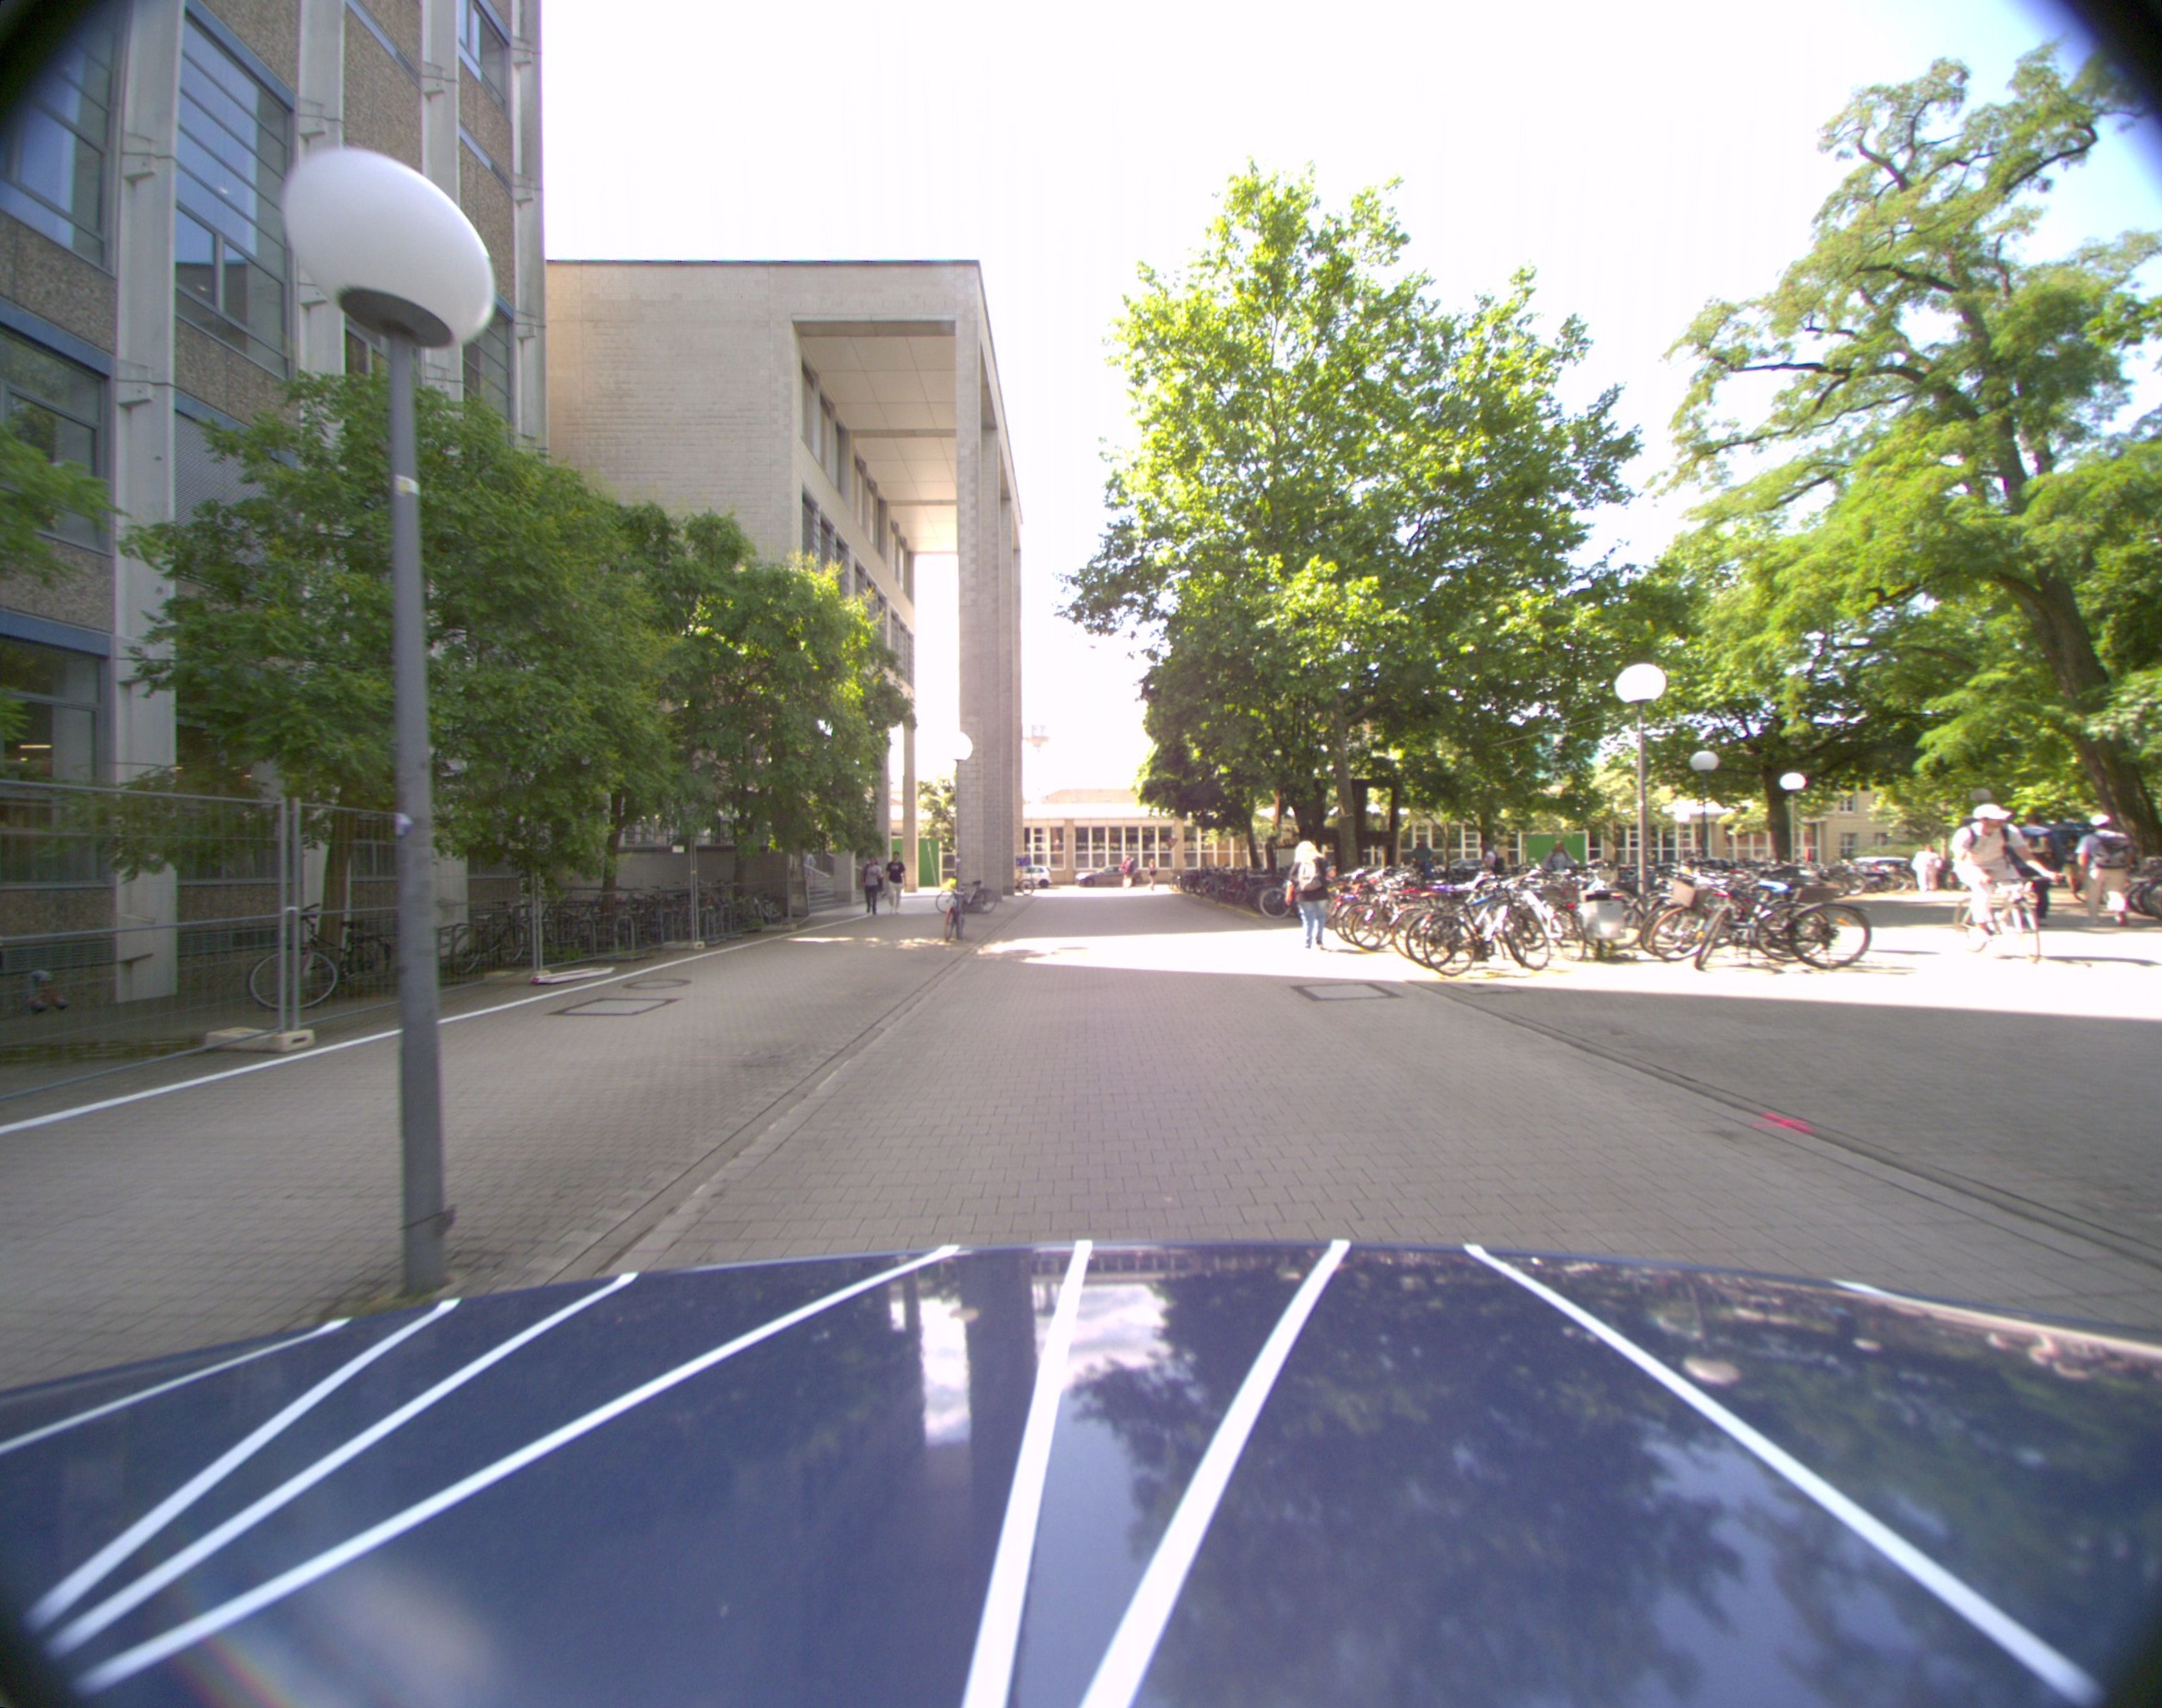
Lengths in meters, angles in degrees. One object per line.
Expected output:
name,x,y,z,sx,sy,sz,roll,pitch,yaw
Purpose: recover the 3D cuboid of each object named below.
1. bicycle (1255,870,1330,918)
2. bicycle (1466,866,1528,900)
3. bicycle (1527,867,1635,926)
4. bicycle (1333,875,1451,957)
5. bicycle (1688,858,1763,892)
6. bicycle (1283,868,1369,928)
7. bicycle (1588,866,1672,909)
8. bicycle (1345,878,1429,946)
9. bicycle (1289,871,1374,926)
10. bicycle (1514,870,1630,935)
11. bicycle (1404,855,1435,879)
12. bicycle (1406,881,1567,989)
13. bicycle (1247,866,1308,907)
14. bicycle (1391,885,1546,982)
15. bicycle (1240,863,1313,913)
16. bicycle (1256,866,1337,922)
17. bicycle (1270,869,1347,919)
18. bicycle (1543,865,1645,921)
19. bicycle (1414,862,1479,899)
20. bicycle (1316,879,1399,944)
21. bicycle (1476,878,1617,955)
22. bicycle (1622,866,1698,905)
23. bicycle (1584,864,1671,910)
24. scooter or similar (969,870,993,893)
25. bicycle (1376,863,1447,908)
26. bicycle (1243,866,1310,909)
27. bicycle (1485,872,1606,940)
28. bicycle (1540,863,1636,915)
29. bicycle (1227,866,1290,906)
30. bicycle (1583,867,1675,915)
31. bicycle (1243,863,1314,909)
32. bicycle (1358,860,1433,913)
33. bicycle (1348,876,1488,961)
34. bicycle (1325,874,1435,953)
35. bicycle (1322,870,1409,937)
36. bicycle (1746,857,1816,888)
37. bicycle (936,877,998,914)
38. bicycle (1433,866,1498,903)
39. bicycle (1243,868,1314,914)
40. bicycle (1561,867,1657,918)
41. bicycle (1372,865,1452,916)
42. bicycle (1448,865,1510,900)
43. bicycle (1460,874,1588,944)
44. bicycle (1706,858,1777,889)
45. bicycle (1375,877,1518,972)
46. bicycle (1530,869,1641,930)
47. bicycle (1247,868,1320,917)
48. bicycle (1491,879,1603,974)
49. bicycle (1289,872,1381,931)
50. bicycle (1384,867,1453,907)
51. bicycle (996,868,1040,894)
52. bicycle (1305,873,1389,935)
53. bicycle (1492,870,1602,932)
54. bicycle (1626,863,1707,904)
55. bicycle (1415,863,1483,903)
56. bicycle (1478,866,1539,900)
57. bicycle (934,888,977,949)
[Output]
bicycle,5.105,0.953,18.359,1.700,1.101,0.473,-1,1,-11
bicycle,14.047,0.954,25.671,0.504,1.101,1.775,-2,1,-37
bicycle,9.610,0.804,14.638,1.695,1.077,0.475,-1,1,36
bicycle,4.783,0.927,11.691,1.700,1.161,0.473,-1,1,-12
bicycle,21.658,0.689,25.564,0.475,1.077,1.854,-2,1,-37
bicycle,5.161,0.921,16.003,1.700,1.181,0.473,-1,1,-11
bicycle,14.311,0.852,19.856,0.475,1.077,1.695,-2,1,-37
bicycle,5.298,0.970,13.126,1.702,1.055,0.473,-2,1,-34
bicycle,5.453,0.948,16.555,1.700,1.101,0.565,-1,1,-11
bicycle,8.653,0.838,13.455,1.695,1.077,0.475,-1,1,31
bicycle,17.028,0.629,38.242,0.803,1.165,1.890,-2,-1,43
bicycle,4.734,0.924,8.898,1.699,1.152,0.474,-1,1,-8
bicycle,5.674,0.919,21.924,1.742,1.101,0.496,-1,1,-24
bicycle,4.761,0.962,9.368,1.699,1.085,0.474,-1,1,-6
bicycle,5.092,0.871,19.820,1.740,1.228,0.496,-1,1,-7
bicycle,4.923,0.902,17.386,1.699,1.191,0.536,-1,1,-8
bicycle,5.374,0.933,17.985,1.700,1.101,0.473,-1,1,-11
bicycle,10.438,0.781,15.484,1.695,1.077,0.475,-1,1,36
bicycle,11.164,0.801,23.242,1.695,1.101,0.504,-1,1,40
bicycle,4.926,0.991,13.481,1.702,1.012,0.473,-2,1,-34
bicycle,6.797,0.907,11.153,1.696,1.077,0.474,-1,1,13
bicycle,16.842,0.889,22.127,0.475,1.077,1.695,-2,1,-37
bicycle,13.559,0.797,18.891,0.475,1.077,1.695,-2,1,-37
scooter or similar,-5.128,1.391,38.864,1.157,1.144,0.444,0,0,5
bicycle,9.194,0.856,21.151,1.695,1.193,0.577,-1,1,36
bicycle,5.417,0.919,21.071,1.741,1.101,0.496,-1,1,-12
bicycle,7.855,0.854,12.885,1.695,1.077,0.475,-1,1,35
bicycle,10.971,0.748,16.464,1.695,1.077,0.475,-1,1,36
bicycle,5.273,0.932,22.576,1.740,1.120,0.497,-1,1,-4
bicycle,12.844,0.844,17.851,1.695,1.077,0.475,-1,1,45
bicycle,5.291,0.864,20.380,1.739,1.172,0.497,-1,1,0
bicycle,7.750,0.788,18.733,1.700,1.213,0.502,-1,1,-11
bicycle,4.837,0.927,10.981,1.778,1.161,0.474,-1,1,13
bicycle,4.813,0.934,12.234,1.701,1.161,0.473,-1,1,-17
bicycle,5.376,0.906,14.330,1.702,1.151,0.473,-2,1,-27
bicycle,25.895,0.675,28.141,0.475,1.077,1.854,-2,1,-37
bicycle,-3.253,1.179,21.747,1.743,1.033,0.449,0,-1,-4
bicycle,12.100,0.941,23.932,1.695,1.101,0.633,-1,1,40
bicycle,5.024,0.924,19.341,1.700,1.101,0.496,-1,1,-10
bicycle,11.853,0.842,17.099,1.695,1.077,0.475,-1,1,45
bicycle,7.709,0.838,17.688,1.700,1.101,0.502,-1,1,-11
bicycle,12.968,0.932,24.792,1.695,1.101,0.504,-1,1,40
bicycle,7.091,0.883,12.224,1.696,1.077,0.474,-1,1,14
bicycle,23.474,0.680,27.036,0.475,1.077,1.854,-2,1,-37
bicycle,4.857,0.921,10.128,1.699,1.161,0.474,-1,1,-6
bicycle,9.404,0.825,14.197,1.695,1.077,0.475,-1,1,36
bicycle,5.005,0.933,18.817,1.700,1.139,0.473,-1,1,-11
bicycle,6.093,0.909,10.040,0.508,1.077,1.700,-1,0,3
bicycle,5.168,0.948,15.475,1.700,1.101,0.582,-1,1,-11
bicycle,9.593,0.927,21.631,1.695,1.101,0.504,-1,1,36
bicycle,-2.822,1.209,34.088,1.886,1.157,0.605,1,-1,-5
bicycle,5.164,0.941,14.743,1.702,1.101,0.473,-1,1,-27
bicycle,8.604,0.852,14.067,1.695,1.077,0.475,-1,1,31
bicycle,16.229,0.799,21.104,0.475,1.077,1.695,-2,1,-37
bicycle,10.661,0.836,22.018,1.695,1.101,0.504,-1,1,36
bicycle,14.682,0.979,26.127,0.504,1.101,1.775,-2,1,-37
bicycle,-2.427,1.230,14.887,0.538,1.033,1.858,0,0,0
